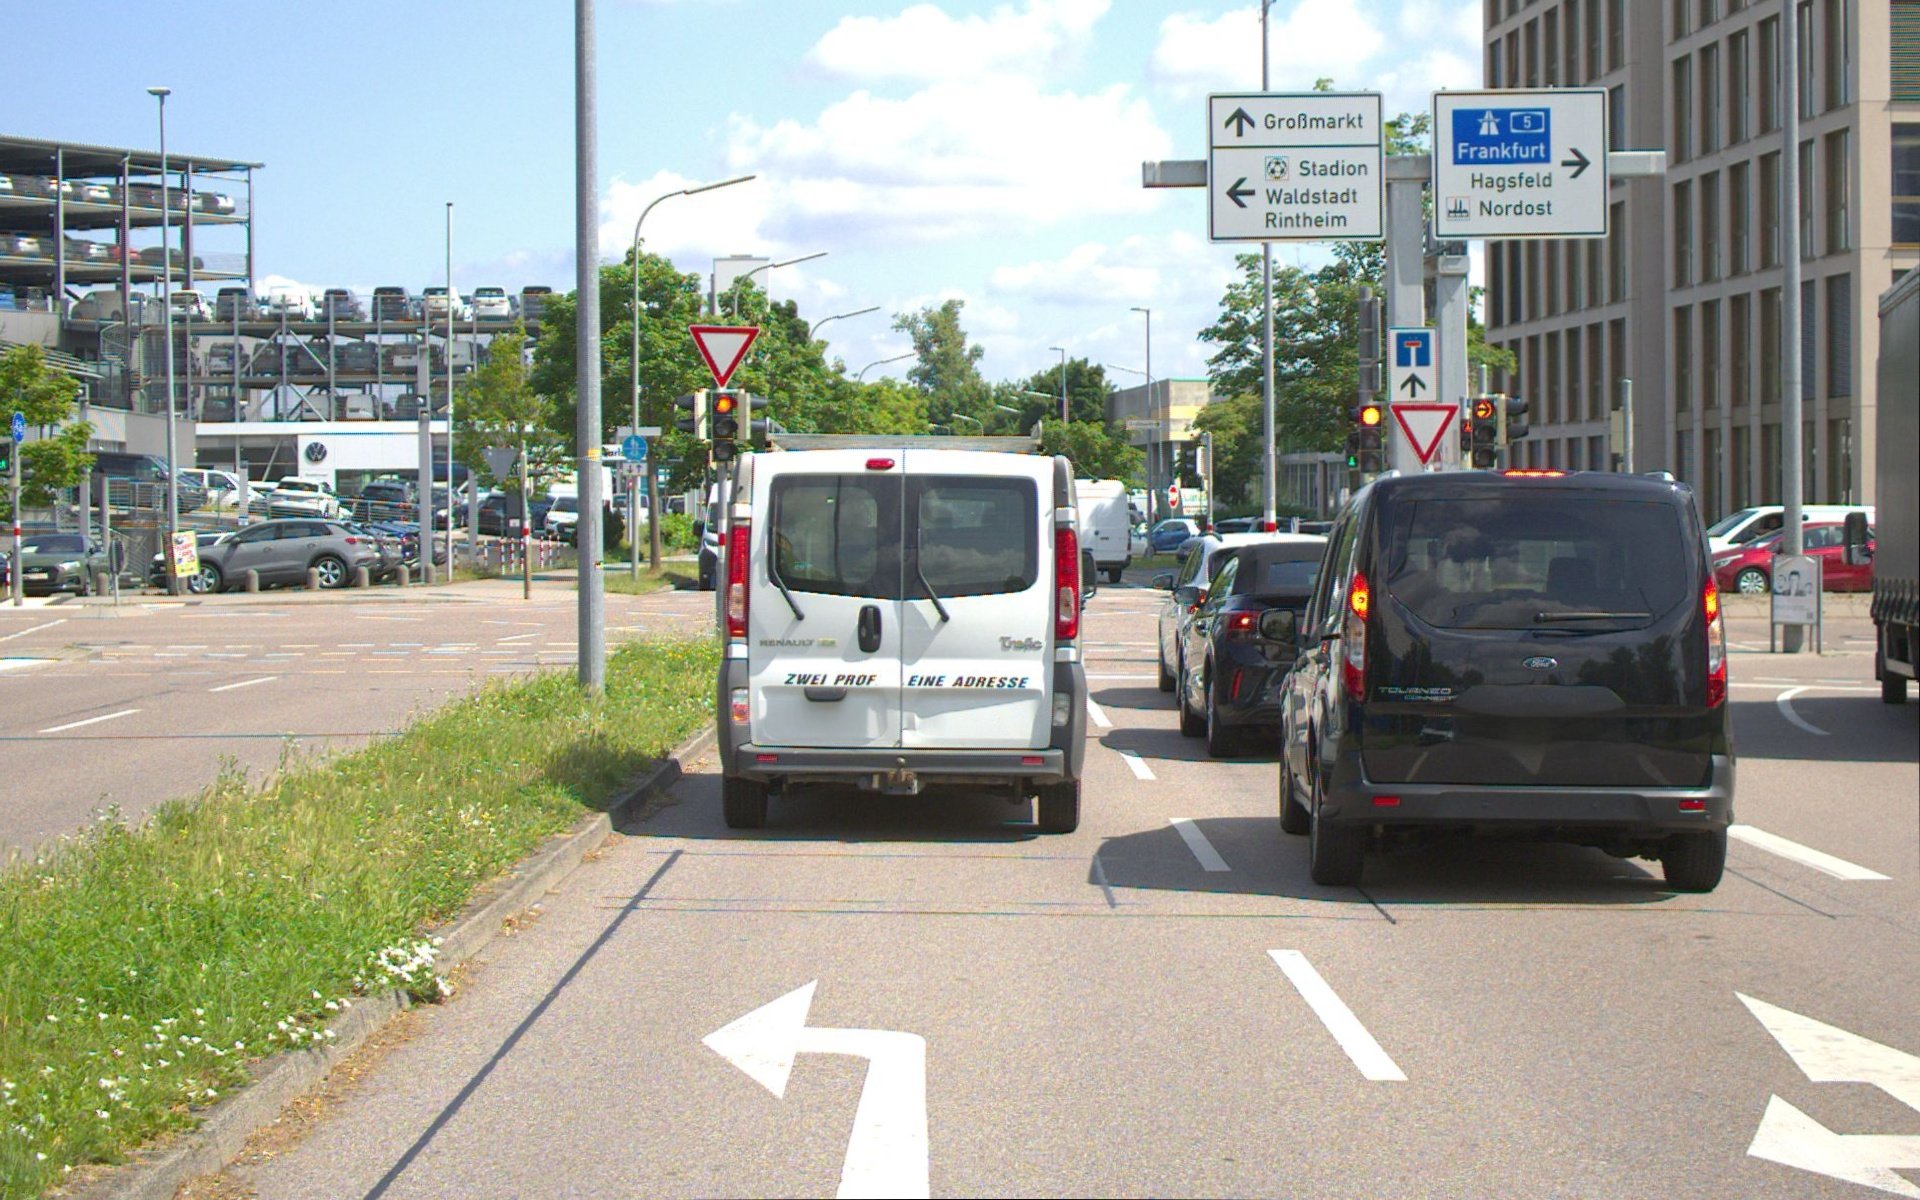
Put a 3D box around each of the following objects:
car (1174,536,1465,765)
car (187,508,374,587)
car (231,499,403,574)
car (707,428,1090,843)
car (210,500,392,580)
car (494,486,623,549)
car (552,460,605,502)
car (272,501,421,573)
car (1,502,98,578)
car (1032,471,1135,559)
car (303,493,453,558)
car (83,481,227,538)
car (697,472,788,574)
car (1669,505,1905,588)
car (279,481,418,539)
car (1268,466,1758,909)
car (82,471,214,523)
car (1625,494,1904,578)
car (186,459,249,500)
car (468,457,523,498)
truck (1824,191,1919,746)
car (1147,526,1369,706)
[{"bbox_3d":[2.556,0.304,25.259,1.740,1.490,4.000,1,2,1],"label":"car"},{"bbox_3d":[-15.215,-1.188,77.103,3.861,1.634,1.858,-2,2,-3],"label":"car"},{"bbox_3d":[-15.740,-1.566,84.237,3.912,1.707,1.689,-2,2,-3],"label":"car"},{"bbox_3d":[-0.238,0.137,18.879,1.856,2.011,4.000,1,1,2],"label":"car"},{"bbox_3d":[-15.276,-1.403,79.795,3.912,1.707,1.689,-2,2,-3],"label":"car"},{"bbox_3d":[-12.670,-2.593,108.559,3.986,1.919,1.827,0,1,-6],"label":"car"},{"bbox_3d":[-14.358,-4.478,129.511,1.846,1.524,4.001,0,2,-4],"label":"car"},{"bbox_3d":[-15.591,-1.605,87.461,3.507,1.707,1.604,-2,2,-3],"label":"car"},{"bbox_3d":[-19.155,-1.273,72.208,1.816,1.546,4.001,0,1,-17],"label":"car"},{"bbox_3d":[3.217,-2.278,90.812,1.993,2.247,5.516,0,2,-5],"label":"car"},{"bbox_3d":[-16.195,-2.085,95.794,3.912,1.707,1.689,-2,2,-3],"label":"car"},{"bbox_3d":[-24.886,-2.805,106.375,4.164,1.707,1.689,0,1,-5],"label":"car"},{"bbox_3d":[-5.042,-1.825,79.827,1.971,2.248,4.981,-2,2,-3],"label":"car"},{"bbox_3d":[15.303,-1.003,63.740,3.893,1.485,1.795,0,2,-1],"label":"car"},{"bbox_3d":[-19.175,-2.837,107.942,4.164,1.707,1.689,1,2,-6],"label":"car"},{"bbox_3d":[2.469,0.315,16.260,1.820,1.802,4.000,1,1,3],"label":"car"},{"bbox_3d":[-27.424,-3.471,116.179,4.164,1.707,1.689,0,1,-5],"label":"car"},{"bbox_3d":[15.815,-1.276,67.771,4.982,1.602,2.000,0,2,-2],"label":"car"},{"bbox_3d":[-28.191,-4.587,130.612,1.846,1.524,4.001,0,2,-4],"label":"car"},{"bbox_3d":[-17.472,-4.610,129.457,1.846,1.524,4.001,0,2,-4],"label":"car"},{"bbox_3d":[9.023,-0.997,28.394,3.131,3.927,8.854,1,1,11],"label":"truck"},{"bbox_3d":[2.710,0.109,32.015,1.740,1.538,4.000,1,1,1],"label":"car"}]
